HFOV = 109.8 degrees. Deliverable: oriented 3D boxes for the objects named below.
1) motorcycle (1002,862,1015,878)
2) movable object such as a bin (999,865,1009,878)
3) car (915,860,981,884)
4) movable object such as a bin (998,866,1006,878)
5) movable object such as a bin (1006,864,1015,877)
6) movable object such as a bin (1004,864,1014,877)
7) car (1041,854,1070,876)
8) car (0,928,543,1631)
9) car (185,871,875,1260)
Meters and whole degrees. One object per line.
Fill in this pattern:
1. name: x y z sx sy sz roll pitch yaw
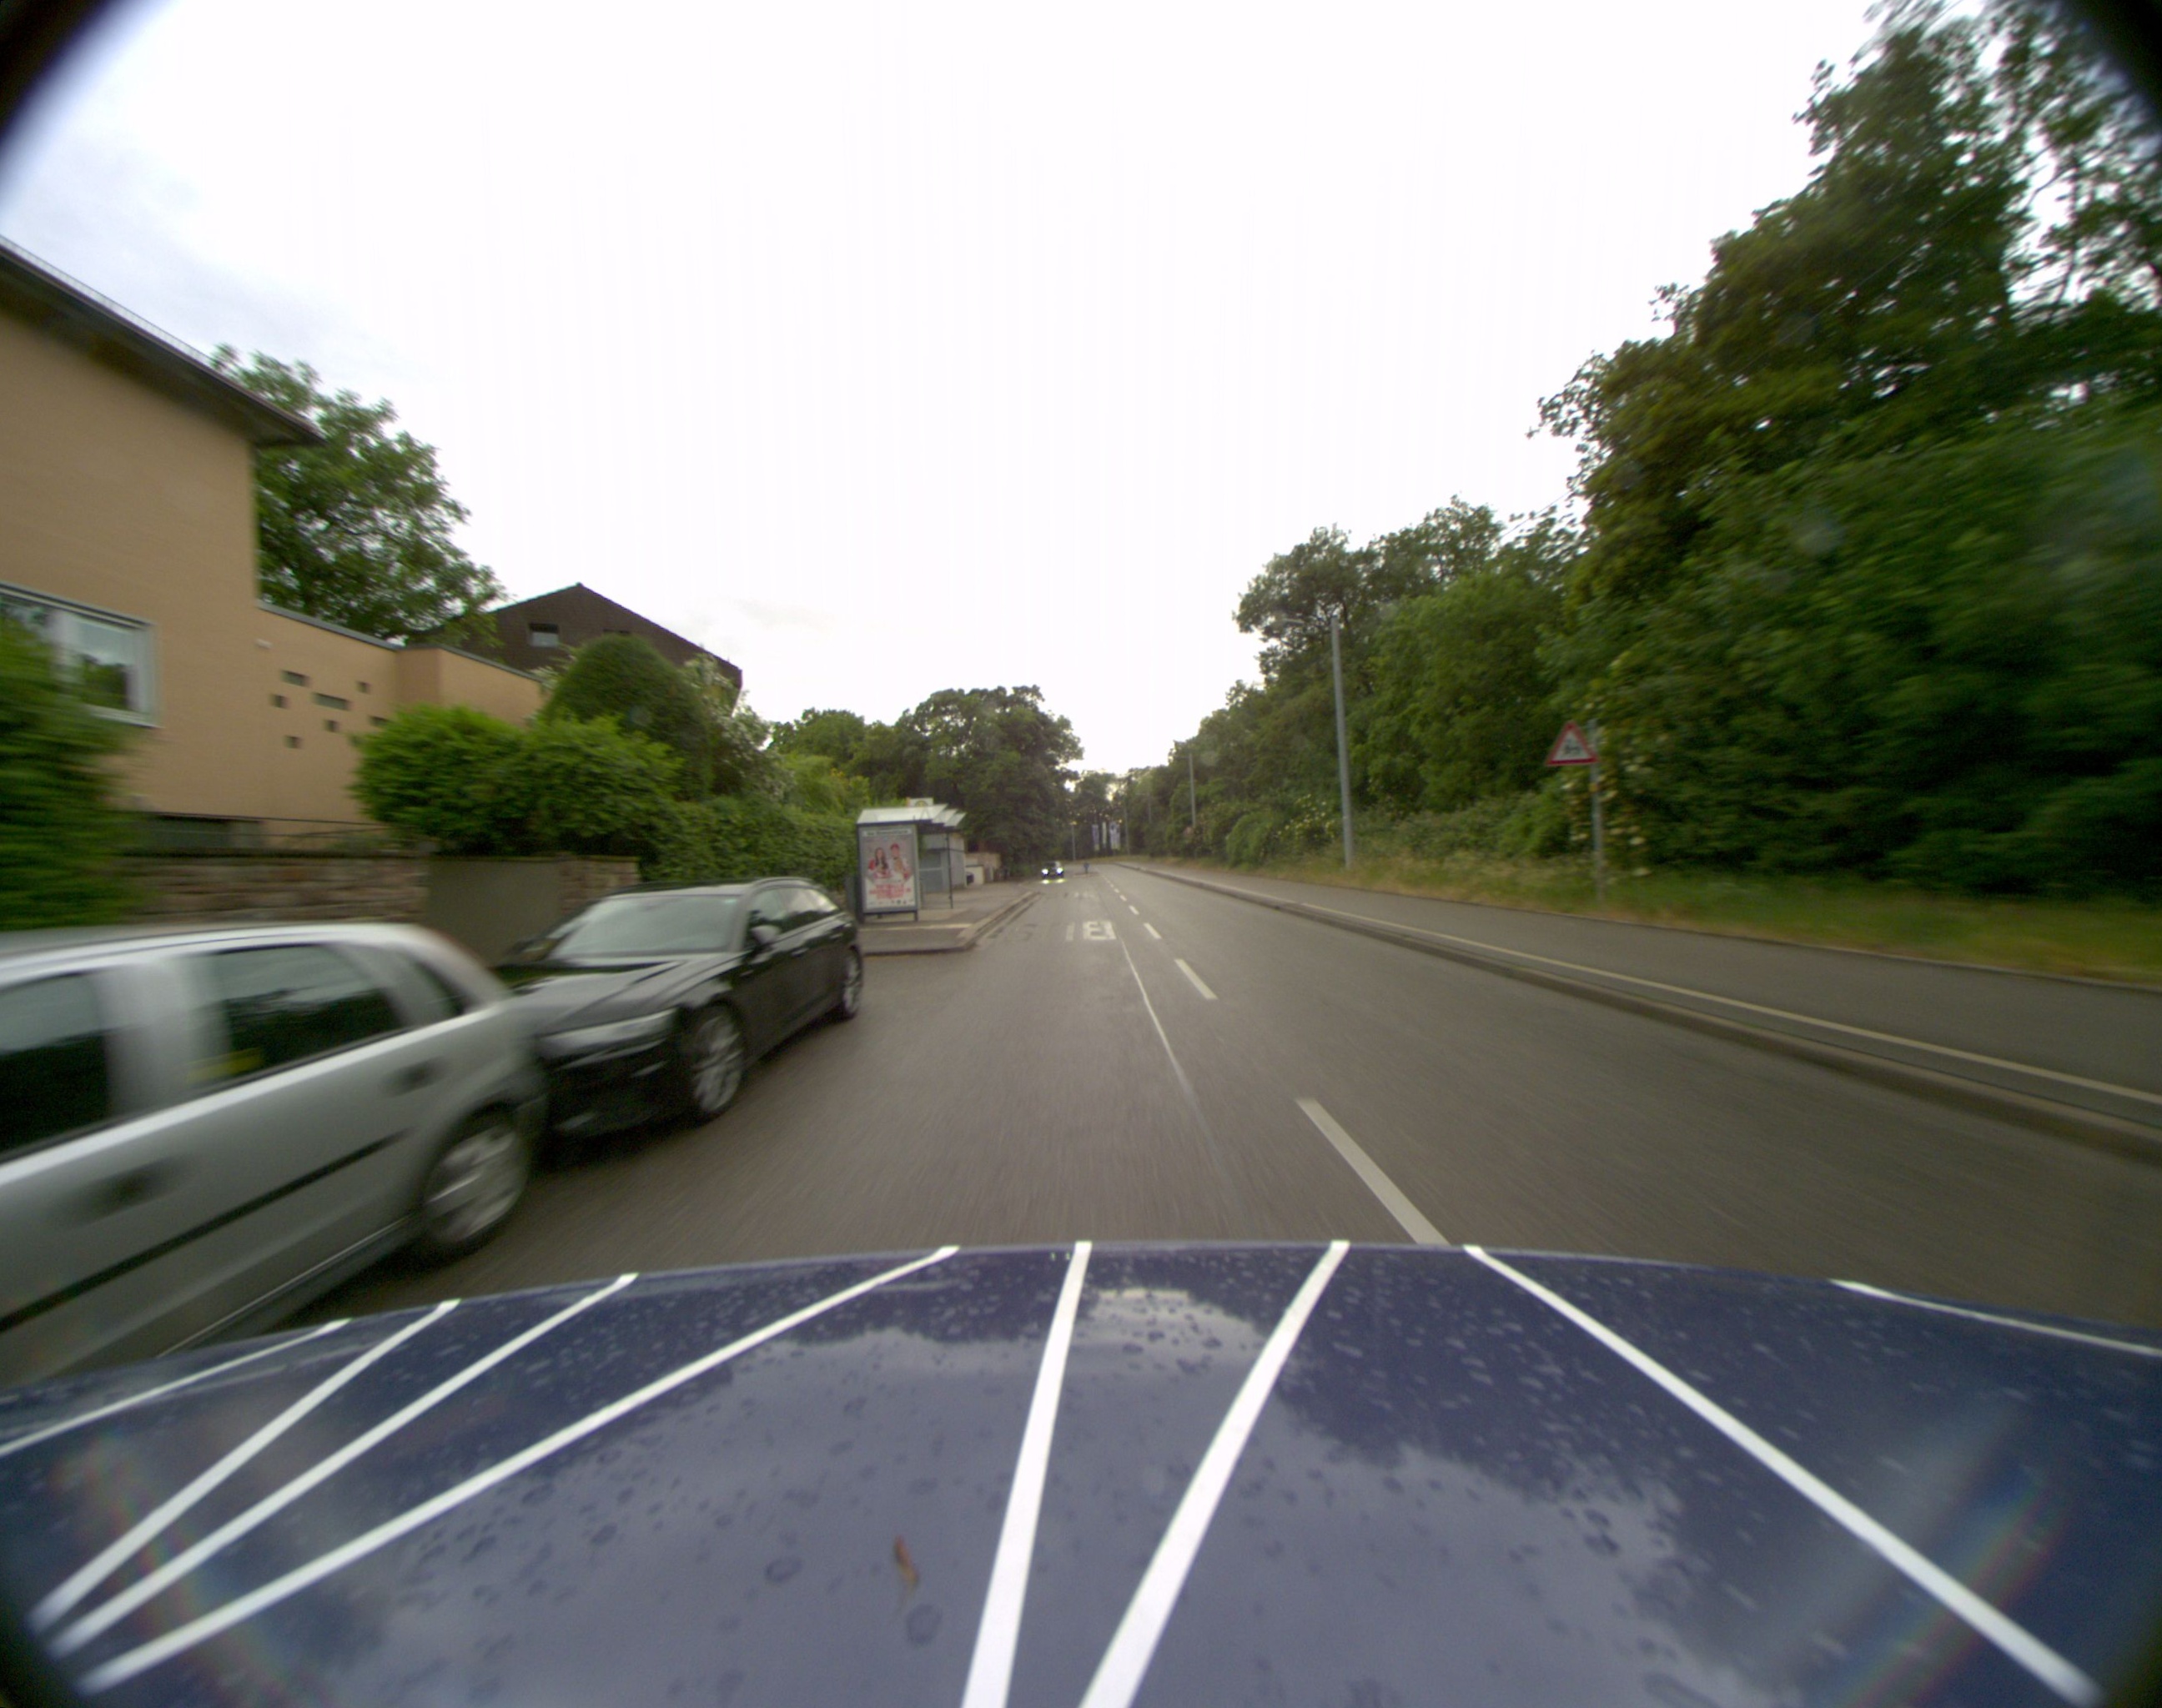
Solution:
1. motorcycle: -6.098 1.310 64.087 0.777 1.237 2.013 -4 0 1
2. movable object such as a bin: -6.341 1.409 62.492 0.666 0.999 0.659 -4 0 1
3. car: -9.267 1.282 53.331 4.228 1.498 1.895 -2 0 0
4. movable object such as a bin: -6.414 1.462 61.751 0.570 0.931 0.549 -4 1 1
5. movable object such as a bin: -6.272 1.468 67.720 0.666 1.062 0.701 -4 0 1
6. movable object such as a bin: -6.220 1.383 65.644 0.666 1.062 0.659 -4 0 1
7. car: -2.053 0.860 63.295 1.998 1.714 4.001 -2 0 3
8. car: -3.374 1.103 1.400 1.817 1.390 4.101 -2 1 -1
9. car: -3.147 1.031 5.806 1.834 1.538 4.628 -2 1 0
